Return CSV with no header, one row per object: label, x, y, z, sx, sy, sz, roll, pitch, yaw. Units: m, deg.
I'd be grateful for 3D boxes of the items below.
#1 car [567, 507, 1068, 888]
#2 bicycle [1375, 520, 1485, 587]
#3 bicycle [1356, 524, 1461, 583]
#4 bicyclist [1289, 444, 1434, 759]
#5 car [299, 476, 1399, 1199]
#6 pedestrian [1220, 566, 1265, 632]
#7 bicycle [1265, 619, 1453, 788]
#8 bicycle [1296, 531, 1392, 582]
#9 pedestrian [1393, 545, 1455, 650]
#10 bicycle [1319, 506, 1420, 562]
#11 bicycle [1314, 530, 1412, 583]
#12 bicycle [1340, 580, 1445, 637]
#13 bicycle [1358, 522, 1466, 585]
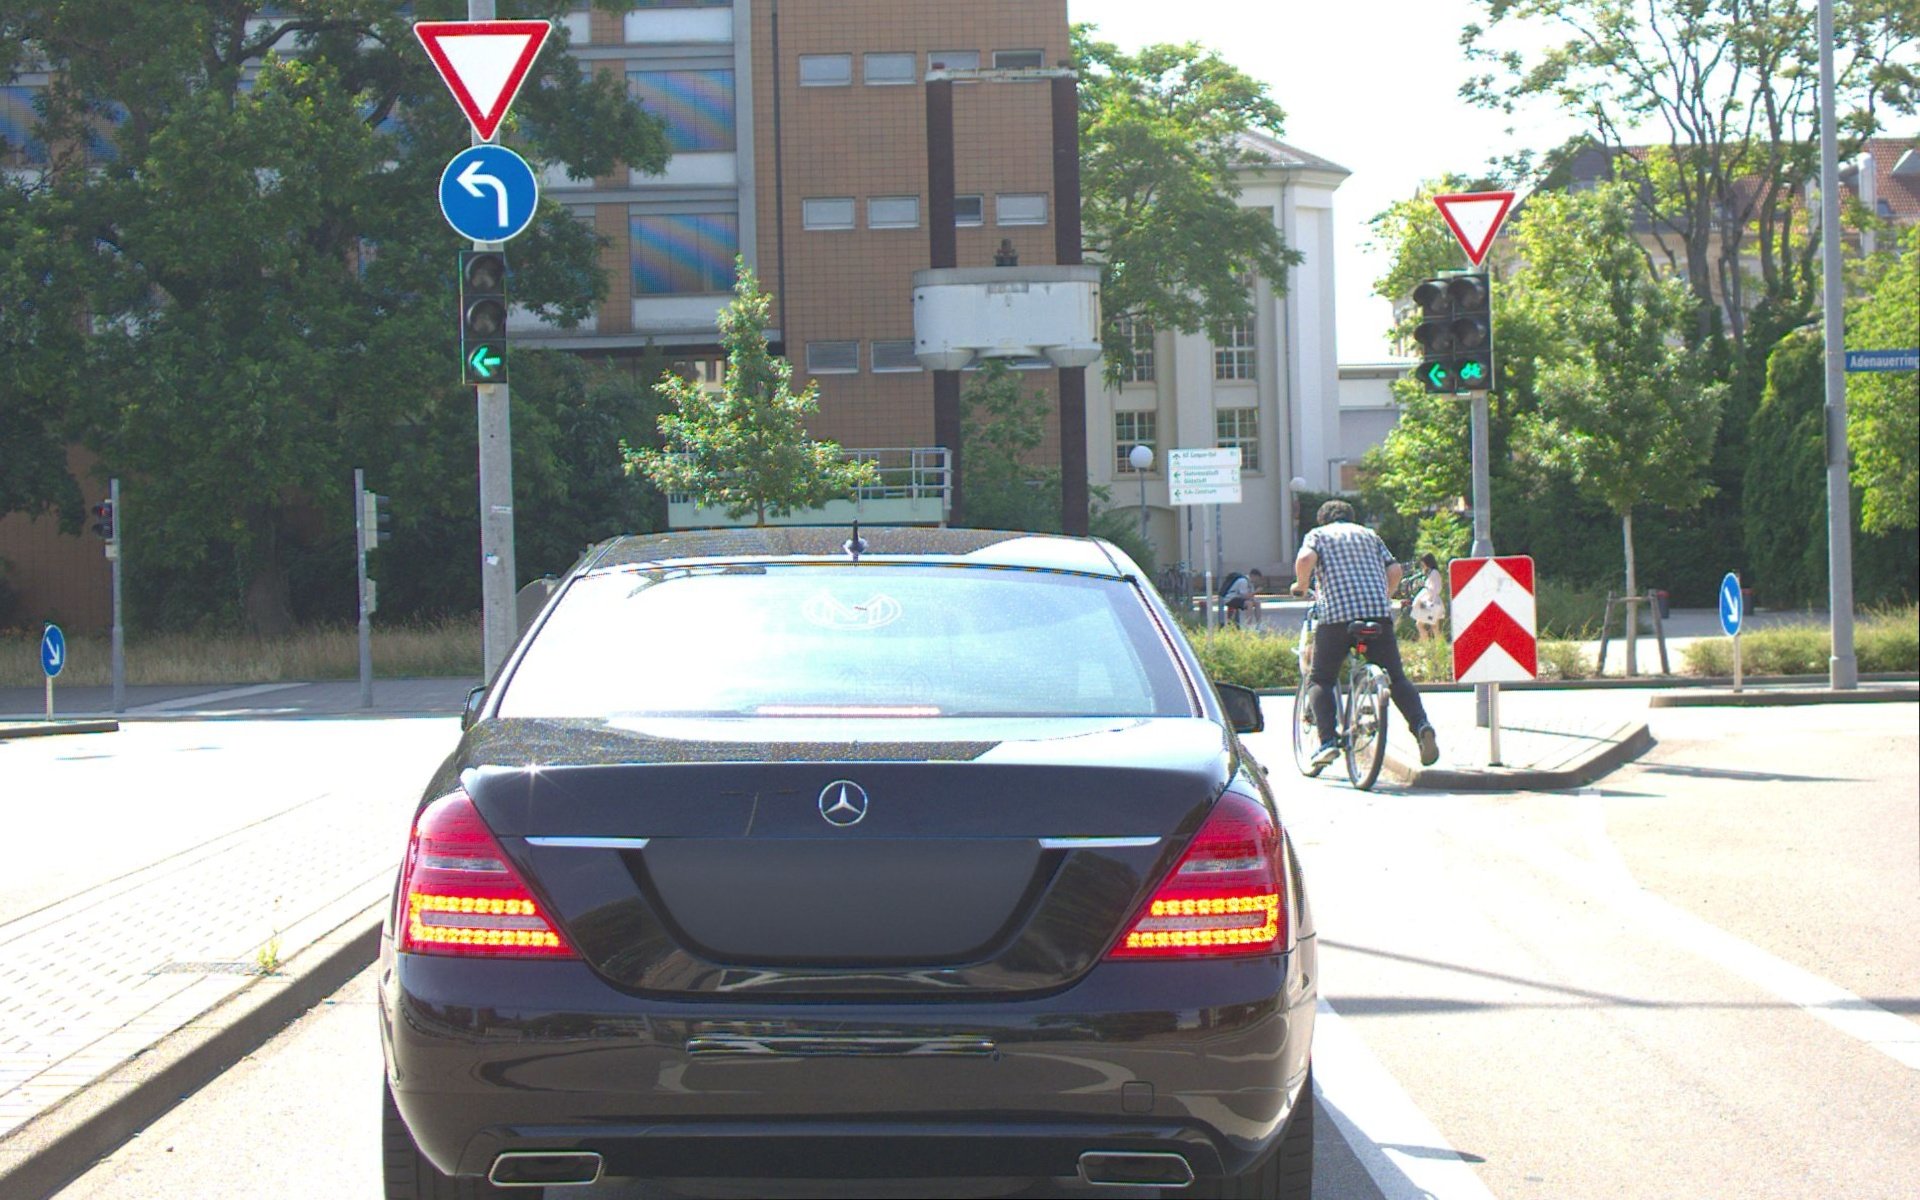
car,-0.596,0.373,15.820,1.993,1.503,4.000,1,1,-1
bicycle,12.815,-1.277,93.782,2.823,1.738,0.842,-2,1,-1
bicycle,12.712,-1.314,97.446,2.823,1.581,0.842,-2,1,-1
bicyclist,2.431,0.004,20.893,0.685,1.872,0.860,0,0,-7
car,-0.220,0.536,8.192,1.858,1.525,4.714,0,1,-1
pedestrian,5.241,-0.022,63.767,0.793,1.209,0.757,1,0,6
bicycle,2.416,0.611,21.022,0.692,0.943,1.959,1,1,-7
bicycle,11.844,-1.343,106.093,2.823,1.475,0.841,-2,1,0
pedestrian,7.053,-0.043,52.288,0.811,1.574,0.692,-2,0,2
bicycle,12.164,-1.964,102.139,2.823,1.553,0.842,-2,1,-1
bicycle,12.260,-1.321,104.546,2.823,1.495,0.842,-2,1,-1
bicycle,12.352,0.231,98.223,2.823,1.532,0.842,-2,1,-1
bicycle,12.515,-1.302,95.175,2.823,1.643,0.842,-2,1,-1
